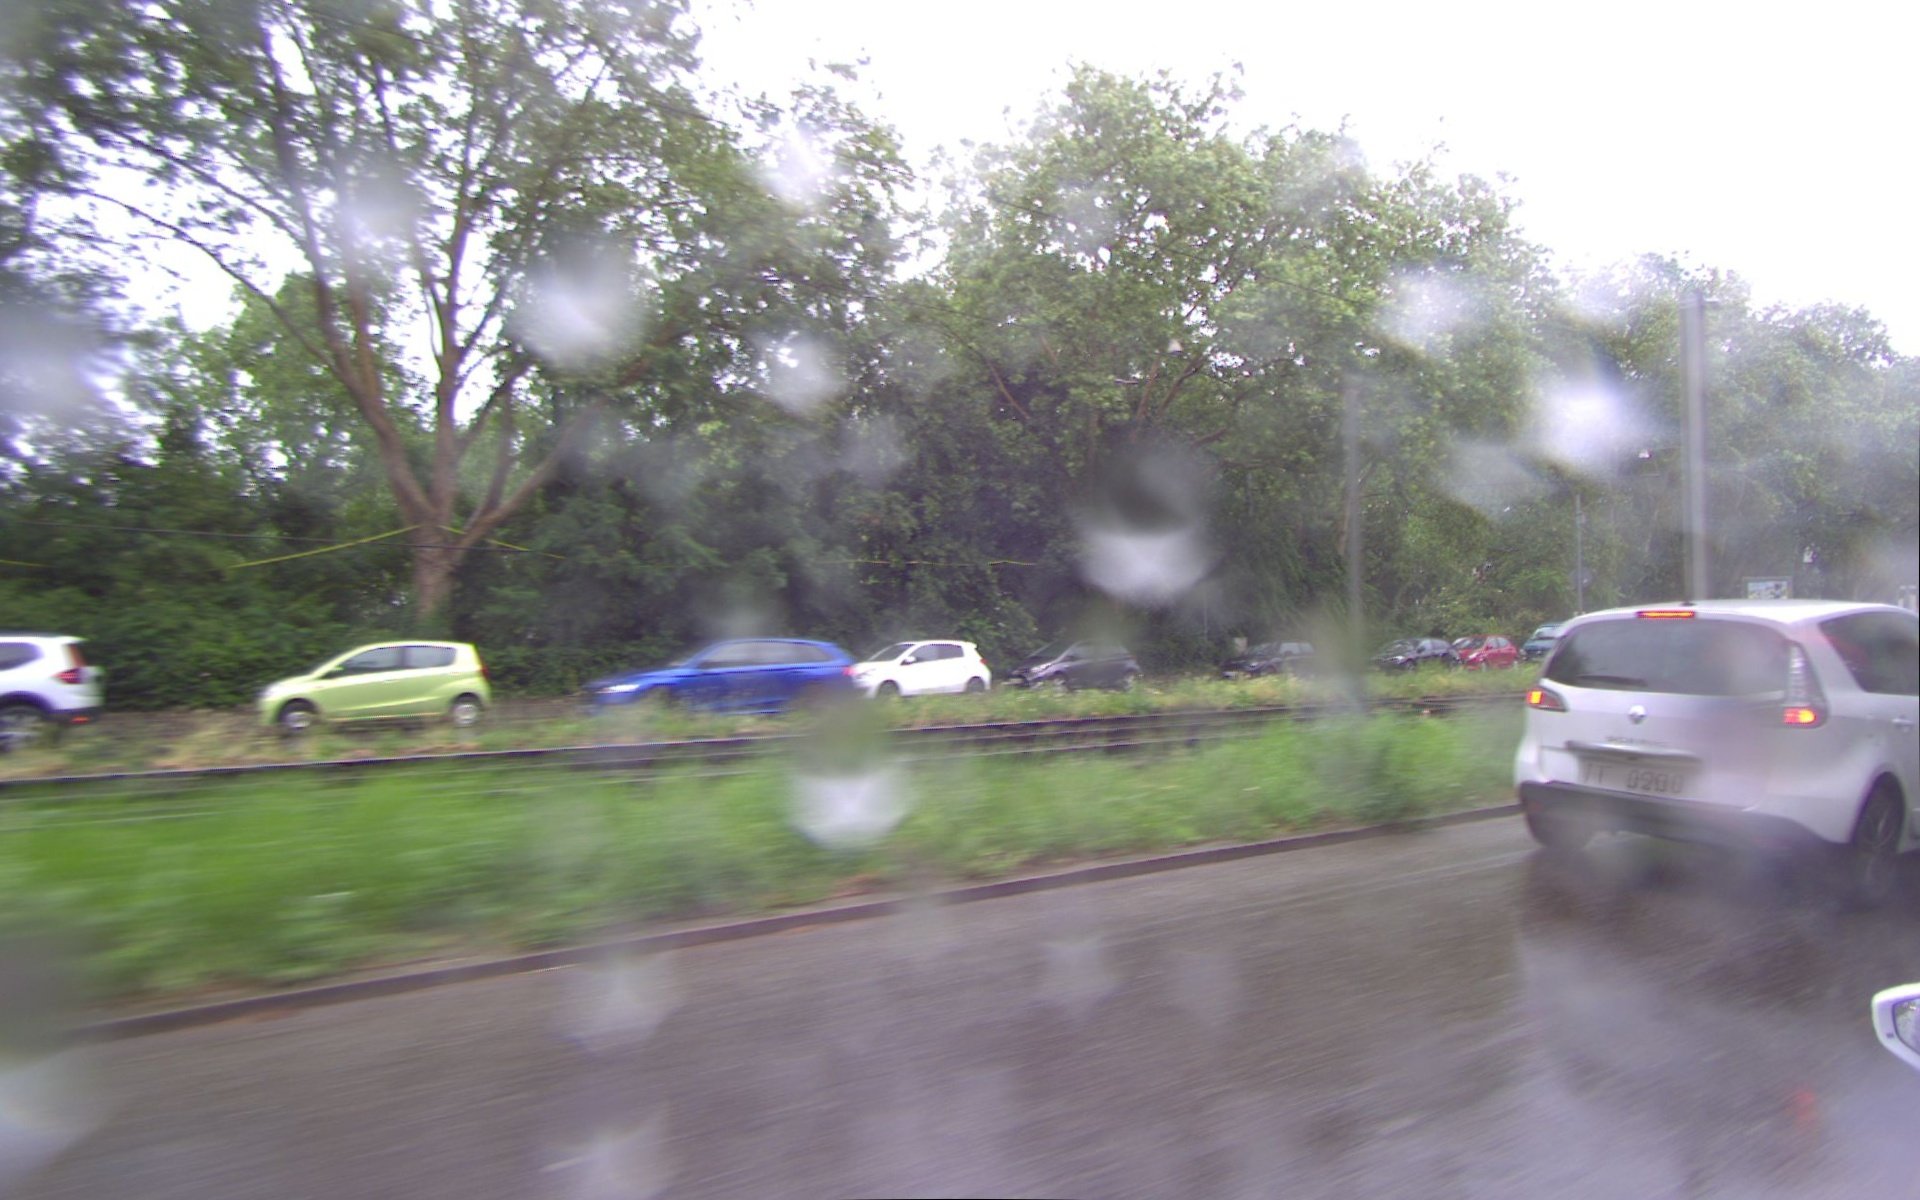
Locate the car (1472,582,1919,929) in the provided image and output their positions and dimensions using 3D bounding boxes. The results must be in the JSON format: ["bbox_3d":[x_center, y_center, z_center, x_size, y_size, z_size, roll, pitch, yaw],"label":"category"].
[{"bbox_3d":[5.536,0.791,6.632,4.212,1.645,1.856,1,-1,-30],"label":"car"}]

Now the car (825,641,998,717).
[{"bbox_3d":[-1.124,1.829,23.905,3.774,1.669,1.751,1,-3,-34],"label":"car"}]

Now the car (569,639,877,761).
[{"bbox_3d":[-3.906,1.561,16.874,4.646,1.774,2.019,1,-4,-34],"label":"car"}]

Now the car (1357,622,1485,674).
[{"bbox_3d":[16.105,1.641,35.062,4.562,1.679,2.019,1,-2,-34],"label":"car"}]

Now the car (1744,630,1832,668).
[{"bbox_3d":[37.855,2.240,45.913,4.234,1.679,2.019,1,-4,-35],"label":"car"}]

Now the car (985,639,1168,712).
[{"bbox_3d":[3.144,1.935,26.681,4.646,1.774,2.019,1,-4,-34],"label":"car"}]

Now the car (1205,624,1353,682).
[{"bbox_3d":[9.905,1.599,31.080,4.562,1.679,2.019,1,-2,-34],"label":"car"}]

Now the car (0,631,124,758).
[{"bbox_3d":[-14.638,1.318,13.906,4.485,1.750,1.740,1,-3,-34],"label":"car"}]

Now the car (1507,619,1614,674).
[{"bbox_3d":[24.682,1.921,41.253,4.758,2.120,2.018,2,-4,-36],"label":"car"}]

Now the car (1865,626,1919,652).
[{"bbox_3d":[58.183,2.409,62.332,3.955,1.537,1.924,1,-3,-32],"label":"car"}]

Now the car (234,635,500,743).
[{"bbox_3d":[-10.139,1.463,17.347,3.774,1.669,1.751,1,-3,-34],"label":"car"}]
